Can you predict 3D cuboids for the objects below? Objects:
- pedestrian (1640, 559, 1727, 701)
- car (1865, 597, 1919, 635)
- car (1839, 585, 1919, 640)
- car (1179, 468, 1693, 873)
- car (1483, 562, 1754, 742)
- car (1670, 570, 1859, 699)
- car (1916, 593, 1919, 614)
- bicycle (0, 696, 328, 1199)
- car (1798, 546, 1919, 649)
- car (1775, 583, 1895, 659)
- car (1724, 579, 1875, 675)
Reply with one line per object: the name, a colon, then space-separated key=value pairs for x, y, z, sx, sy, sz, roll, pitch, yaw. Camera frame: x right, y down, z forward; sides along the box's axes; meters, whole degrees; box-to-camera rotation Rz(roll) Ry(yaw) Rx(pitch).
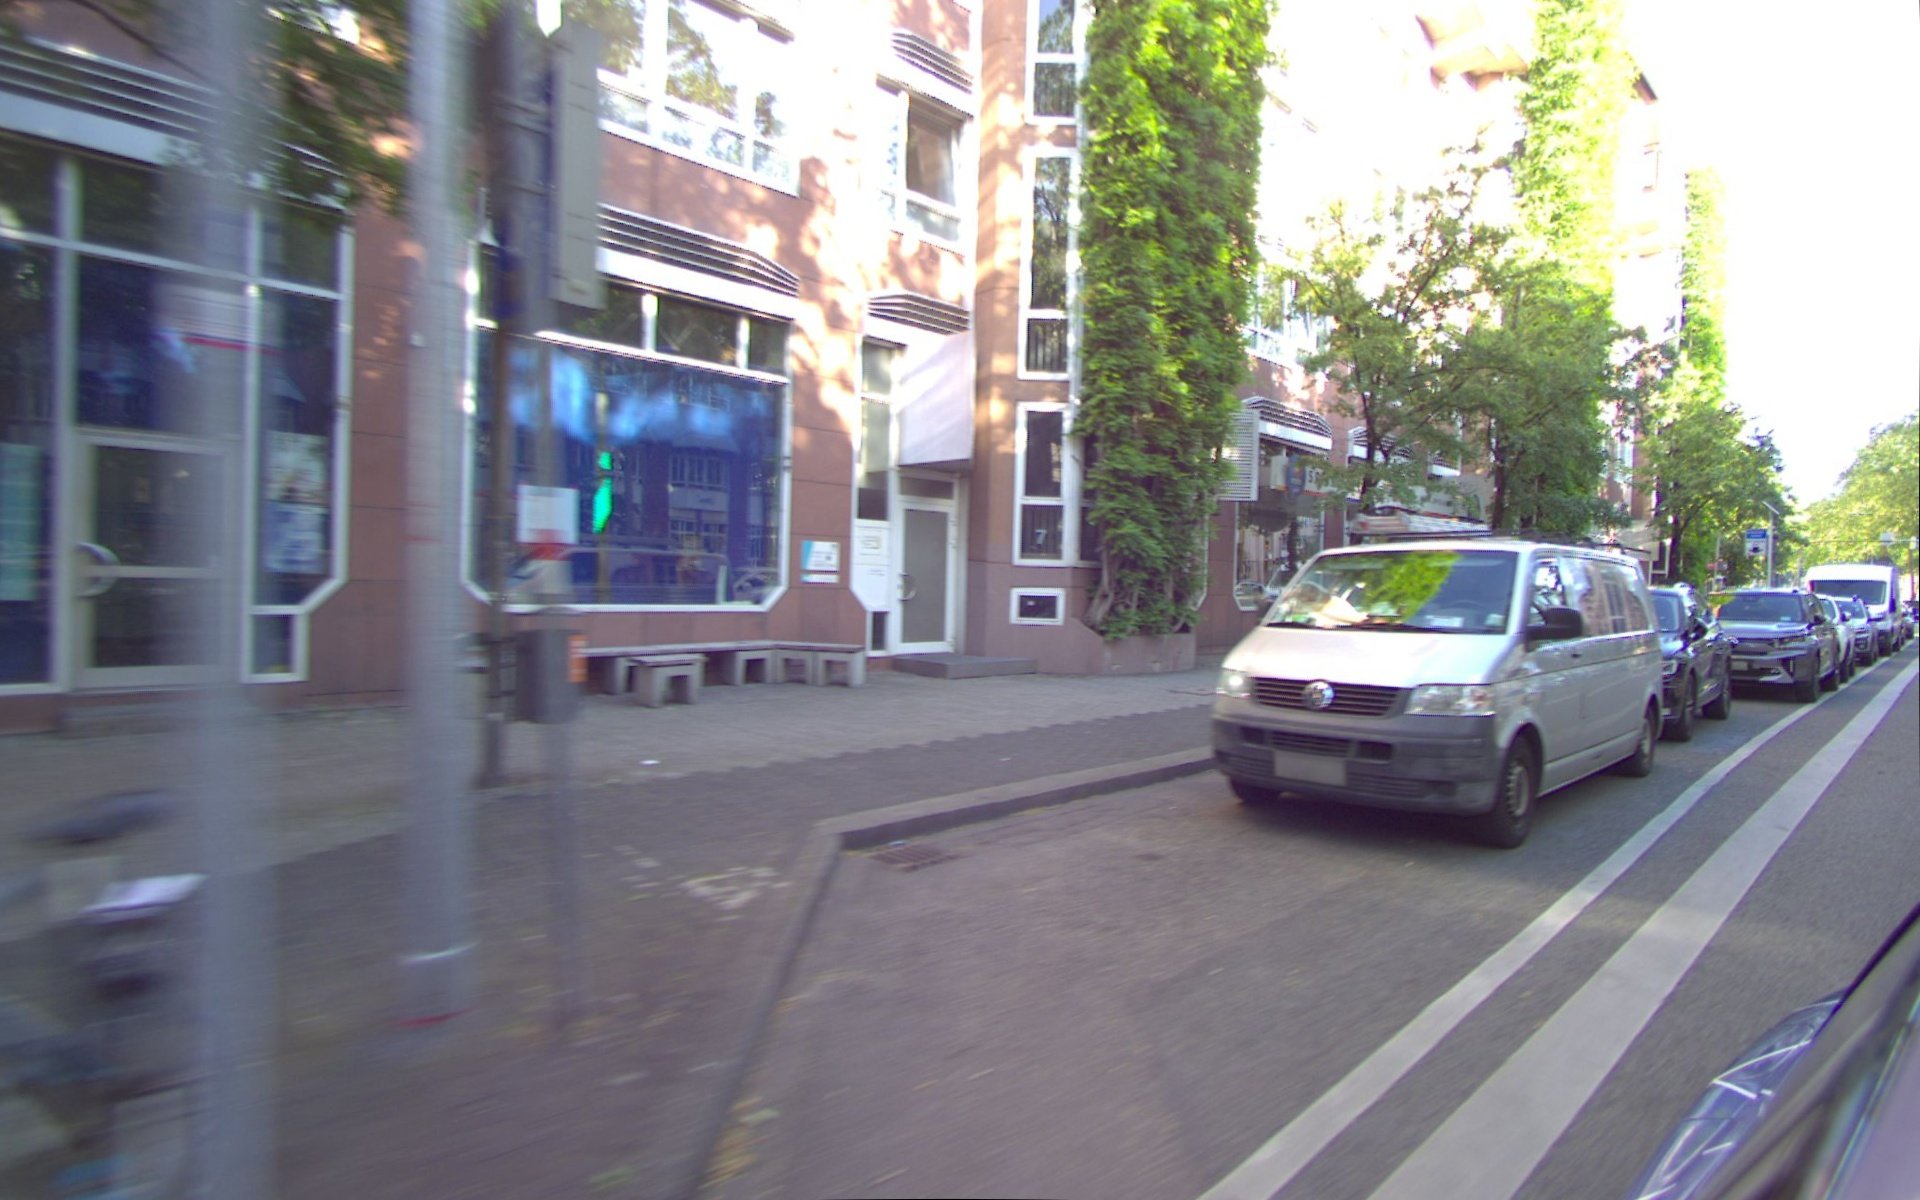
pedestrian: x=9.720 y=0.380 z=13.620 sx=0.706 sy=1.835 sz=0.659 roll=2 pitch=1 yaw=18
car: x=36.759 y=0.605 z=39.701 sx=1.803 sy=1.347 sz=3.931 roll=3 pitch=2 yaw=42
car: x=30.046 y=0.369 z=32.980 sx=1.805 sy=1.646 sz=4.403 roll=3 pitch=2 yaw=45
car: x=3.925 y=0.328 z=7.753 sx=1.920 sy=2.104 sz=5.086 roll=3 pitch=2 yaw=45
car: x=7.735 y=0.472 z=11.725 sx=1.789 sy=1.691 sz=4.132 roll=3 pitch=2 yaw=45
car: x=12.603 y=0.440 z=15.757 sx=1.789 sy=1.691 sz=4.368 roll=3 pitch=2 yaw=45
car: x=72.873 y=0.243 z=75.649 sx=1.994 sy=1.552 sz=3.935 roll=1 pitch=1 yaw=45
bicycle: x=-1.525 y=0.803 z=1.660 sx=0.500 sy=1.080 sz=1.687 roll=1 pitch=1 yaw=-21
car: x=25.353 y=-0.097 z=28.435 sx=5.808 sy=2.596 sz=2.117 roll=0 pitch=2 yaw=-44
car: x=20.708 y=0.437 z=23.901 sx=1.830 sy=1.598 sz=3.935 roll=3 pitch=2 yaw=45
car: x=16.081 y=0.442 z=19.325 sx=1.830 sy=1.598 sz=3.935 roll=3 pitch=2 yaw=45
